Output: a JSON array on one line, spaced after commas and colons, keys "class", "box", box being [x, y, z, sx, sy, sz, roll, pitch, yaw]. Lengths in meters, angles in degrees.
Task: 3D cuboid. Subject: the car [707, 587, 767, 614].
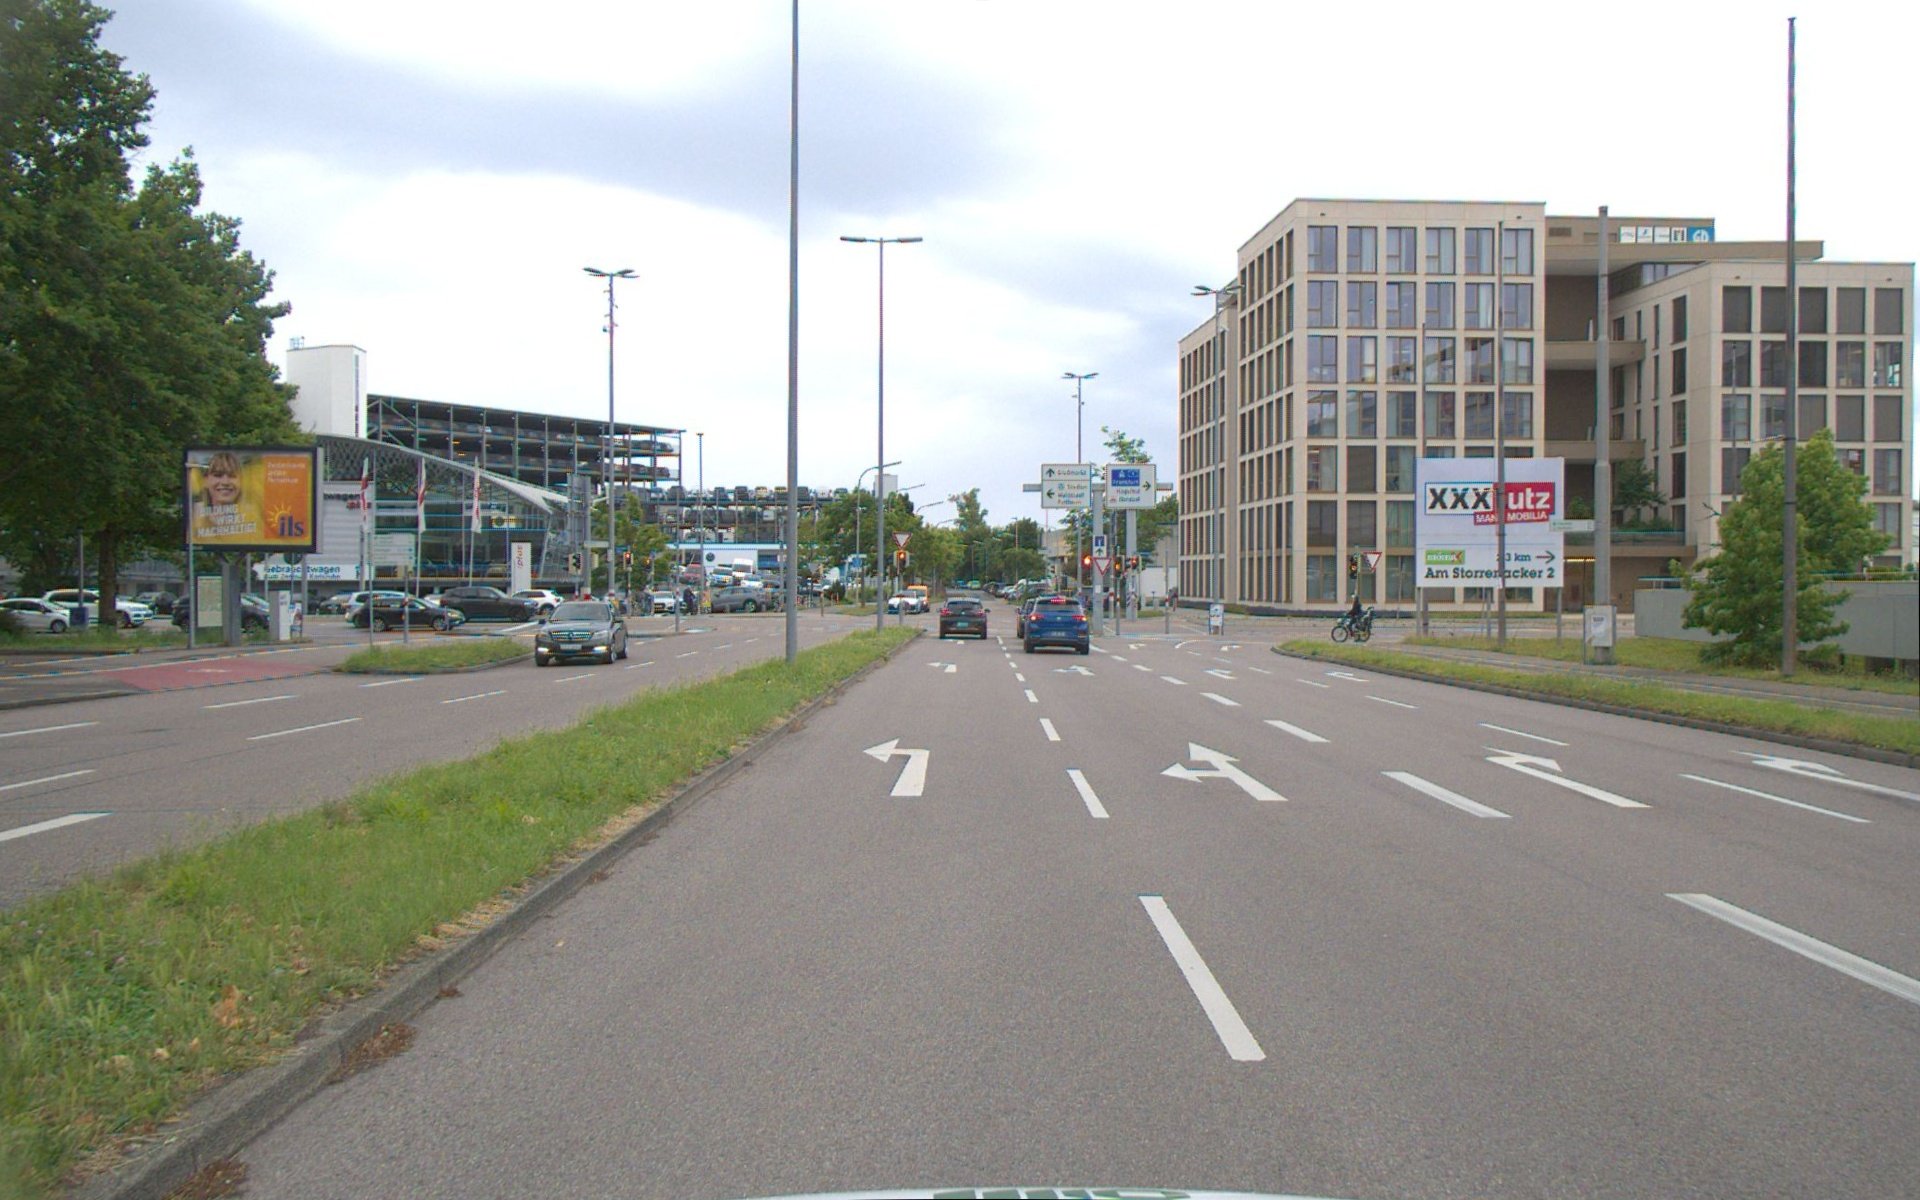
[{"class": "car", "box": [-14.196, 0.017, 105.422, 3.748, 1.617, 1.681, 0, 2, -5]}]

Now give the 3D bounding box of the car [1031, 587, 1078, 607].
[{"class": "car", "box": [7.682, -0.287, 134.450, 3.528, 1.504, 1.761, 1, 2, 20]}]

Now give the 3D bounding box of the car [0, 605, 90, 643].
[{"class": "car", "box": [-40.052, 1.016, 71.160, 4.144, 1.538, 1.992, 0, 1, -5]}]

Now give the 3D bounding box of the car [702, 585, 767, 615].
[{"class": "car", "box": [-14.068, -0.010, 103.332, 3.909, 1.821, 1.846, 0, 2, -5]}]

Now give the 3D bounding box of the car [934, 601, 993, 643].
[{"class": "car", "box": [0.078, 0.801, 59.411, 1.948, 1.453, 4.239, 0, -1, -2]}]

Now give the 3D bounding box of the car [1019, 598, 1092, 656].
[{"class": "car", "box": [2.660, 0.720, 46.875, 1.797, 1.541, 3.999, 0, 0, -1]}]

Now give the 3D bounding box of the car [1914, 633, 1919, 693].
[{"class": "car", "box": [34.180, 2.184, 54.577, 2.405, 2.049, 5.108, 1, 0, 0]}]

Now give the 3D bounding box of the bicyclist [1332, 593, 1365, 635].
[{"class": "bicyclist", "box": [14.311, 0.521, 60.921, 0.694, 1.530, 0.987, 0, 1, -37]}]

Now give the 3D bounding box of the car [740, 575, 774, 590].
[{"class": "car", "box": [-21.820, -1.850, 178.068, 3.593, 1.555, 1.612, 0, 2, -8]}]

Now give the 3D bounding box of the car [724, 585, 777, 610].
[{"class": "car", "box": [-14.431, -0.171, 113.893, 3.535, 1.697, 1.547, 0, 2, -5]}]

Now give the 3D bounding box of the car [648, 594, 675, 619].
[{"class": "car", "box": [-17.706, 0.344, 98.139, 1.348, 1.349, 3.023, 0, 2, -14]}]

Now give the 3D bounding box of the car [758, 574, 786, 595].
[{"class": "car", "box": [-16.701, -1.357, 147.140, 1.738, 1.735, 3.919, 0, 2, 4]}]

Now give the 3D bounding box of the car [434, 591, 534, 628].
[{"class": "car", "box": [-22.708, 0.442, 79.067, 4.320, 1.672, 1.997, 0, 2, -8]}]

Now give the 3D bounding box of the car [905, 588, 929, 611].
[{"class": "car", "box": [-2.979, -0.028, 115.433, 1.568, 1.478, 3.325, 0, 2, 0]}]

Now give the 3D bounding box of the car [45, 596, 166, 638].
[{"class": "car", "box": [-38.429, 0.748, 74.497, 4.347, 1.740, 1.999, 0, 4, -6]}]

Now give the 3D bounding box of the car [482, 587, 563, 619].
[{"class": "car", "box": [-23.072, 0.168, 87.247, 3.865, 1.595, 1.759, 0, 2, -5]}]

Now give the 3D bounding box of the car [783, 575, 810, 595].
[{"class": "car", "box": [-14.556, -1.350, 147.204, 1.738, 1.735, 3.919, 0, 2, 4]}]

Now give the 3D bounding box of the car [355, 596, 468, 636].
[{"class": "car", "box": [-23.916, 0.693, 72.261, 4.332, 1.689, 1.997, 0, 0, -7]}]

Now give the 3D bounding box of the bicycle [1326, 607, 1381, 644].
[{"class": "bicycle", "box": [14.447, 0.922, 60.749, 0.694, 1.318, 1.985, 0, 1, -36]}]

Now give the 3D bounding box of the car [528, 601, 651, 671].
[{"class": "car", "box": [-8.739, 0.805, 39.383, 1.754, 1.505, 4.532, -2, 0, 1]}]

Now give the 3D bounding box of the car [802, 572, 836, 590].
[{"class": "car", "box": [-13.411, -1.850, 157.401, 3.230, 1.669, 1.479, 0, 2, -4]}]

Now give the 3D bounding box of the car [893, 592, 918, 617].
[{"class": "car", "box": [-3.524, 0.281, 107.286, 1.568, 1.478, 3.325, 0, 2, 0]}]

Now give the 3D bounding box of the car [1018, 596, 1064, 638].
[{"class": "car", "box": [2.971, 0.610, 61.228, 1.493, 1.457, 3.390, 1, 1, -1]}]

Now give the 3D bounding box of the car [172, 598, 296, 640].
[{"class": "car", "box": [-31.362, 0.811, 71.547, 4.457, 1.689, 1.997, -1, 1, -7]}]

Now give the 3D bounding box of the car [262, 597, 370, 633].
[{"class": "car", "box": [-29.199, 0.676, 75.099, 4.167, 1.535, 1.997, 0, 2, -7]}]
